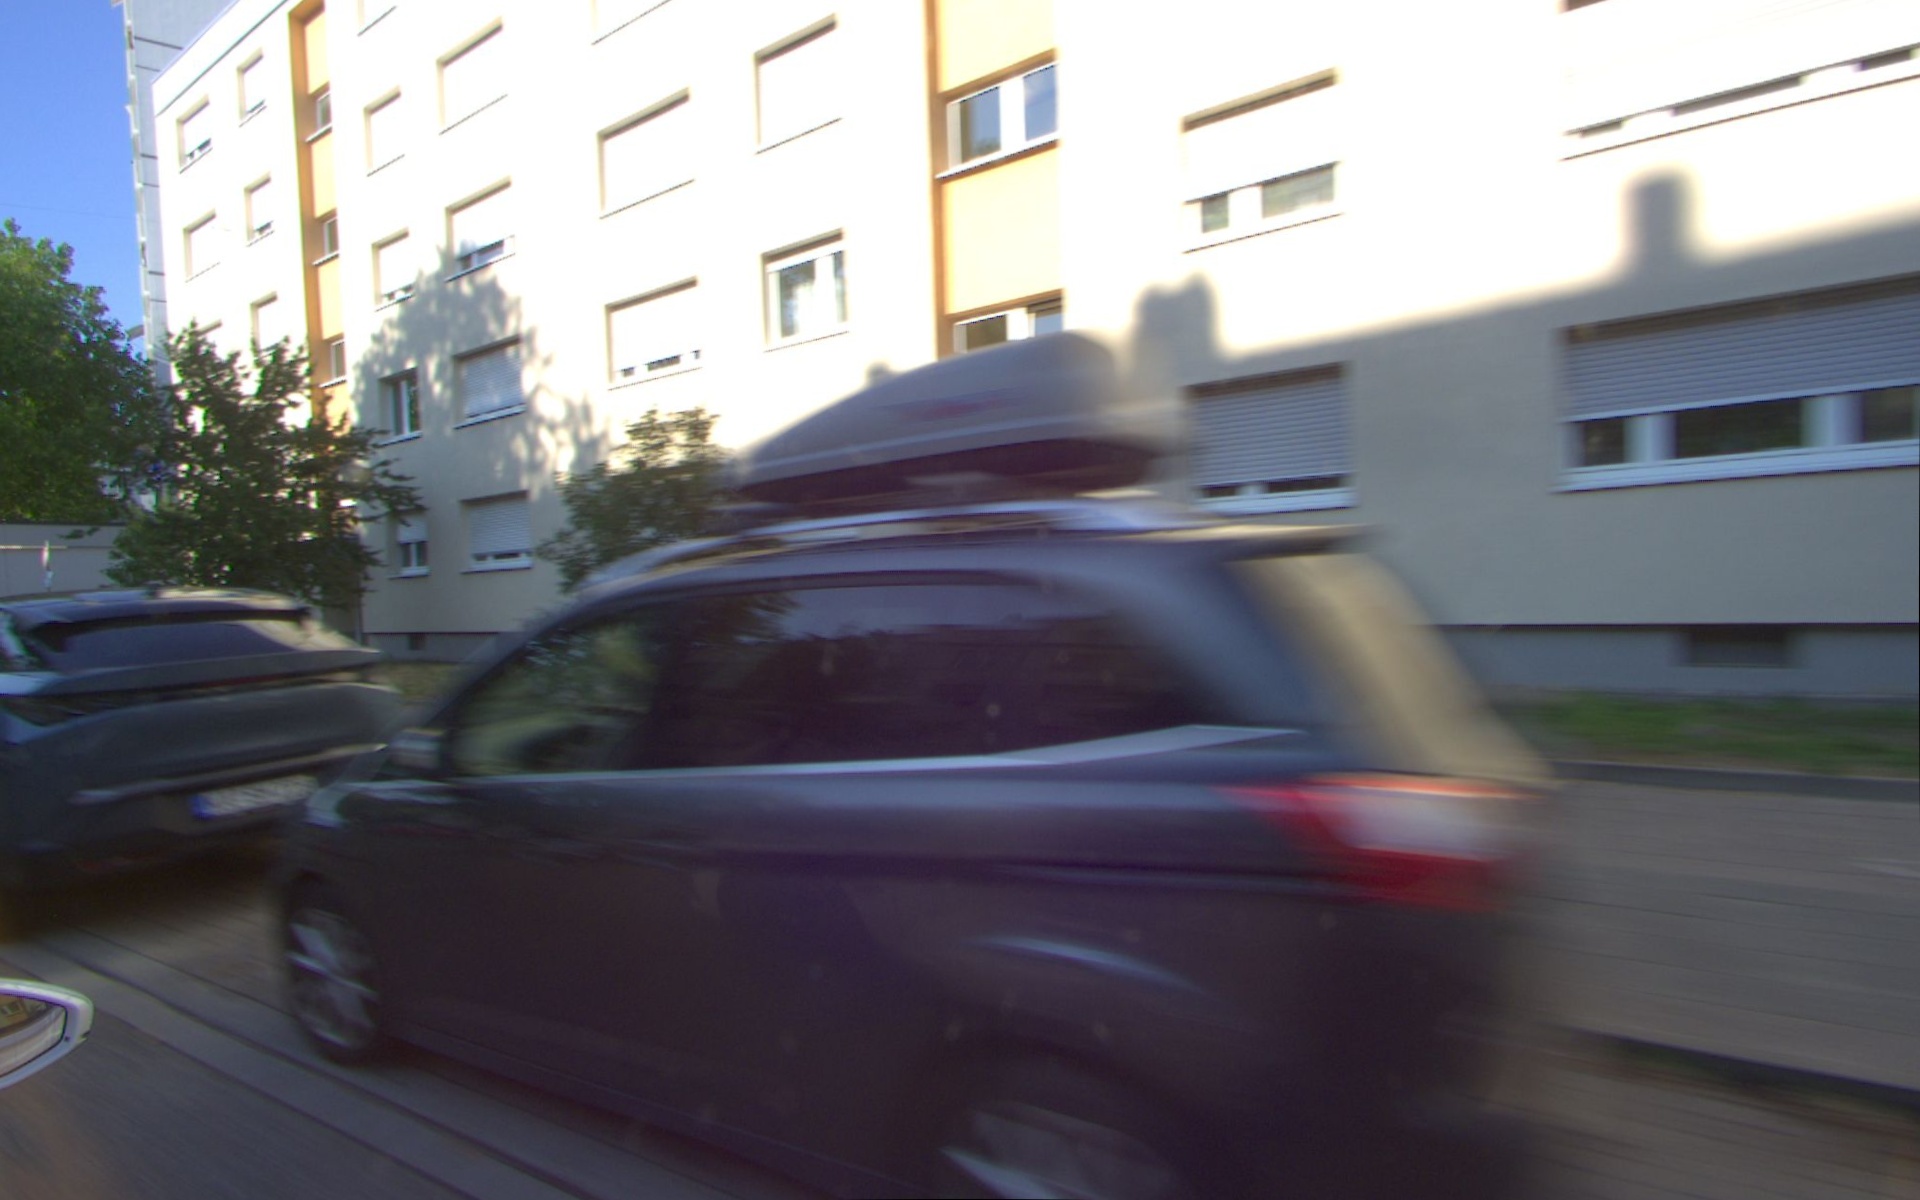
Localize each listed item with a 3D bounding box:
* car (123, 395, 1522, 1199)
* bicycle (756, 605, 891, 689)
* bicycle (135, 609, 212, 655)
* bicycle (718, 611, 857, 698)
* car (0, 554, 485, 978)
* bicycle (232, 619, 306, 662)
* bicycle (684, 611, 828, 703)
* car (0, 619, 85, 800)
[{"bbox_3d":[-0.661,0.582,3.256,4.280,1.673,1.893,-1,1,32],"label":"car"},{"bbox_3d":[-1.812,0.616,13.160,1.808,1.034,0.610,-2,-1,35],"label":"bicycle"},{"bbox_3d":[-17.389,0.692,22.132,2.197,0.938,0.635,1,0,32],"label":"bicycle"},{"bbox_3d":[-2.192,0.676,12.616,1.808,1.034,0.610,-2,-1,35],"label":"bicycle"},{"bbox_3d":[-5.137,0.716,6.004,4.611,1.680,1.922,-2,0,32],"label":"car"},{"bbox_3d":[-16.498,0.957,23.900,2.197,0.938,0.635,1,0,32],"label":"bicycle"},{"bbox_3d":[-2.472,0.678,12.043,1.808,1.034,0.610,-2,-1,35],"label":"bicycle"},{"bbox_3d":[-9.782,0.966,9.070,3.943,1.492,1.737,-2,-1,32],"label":"car"}]
